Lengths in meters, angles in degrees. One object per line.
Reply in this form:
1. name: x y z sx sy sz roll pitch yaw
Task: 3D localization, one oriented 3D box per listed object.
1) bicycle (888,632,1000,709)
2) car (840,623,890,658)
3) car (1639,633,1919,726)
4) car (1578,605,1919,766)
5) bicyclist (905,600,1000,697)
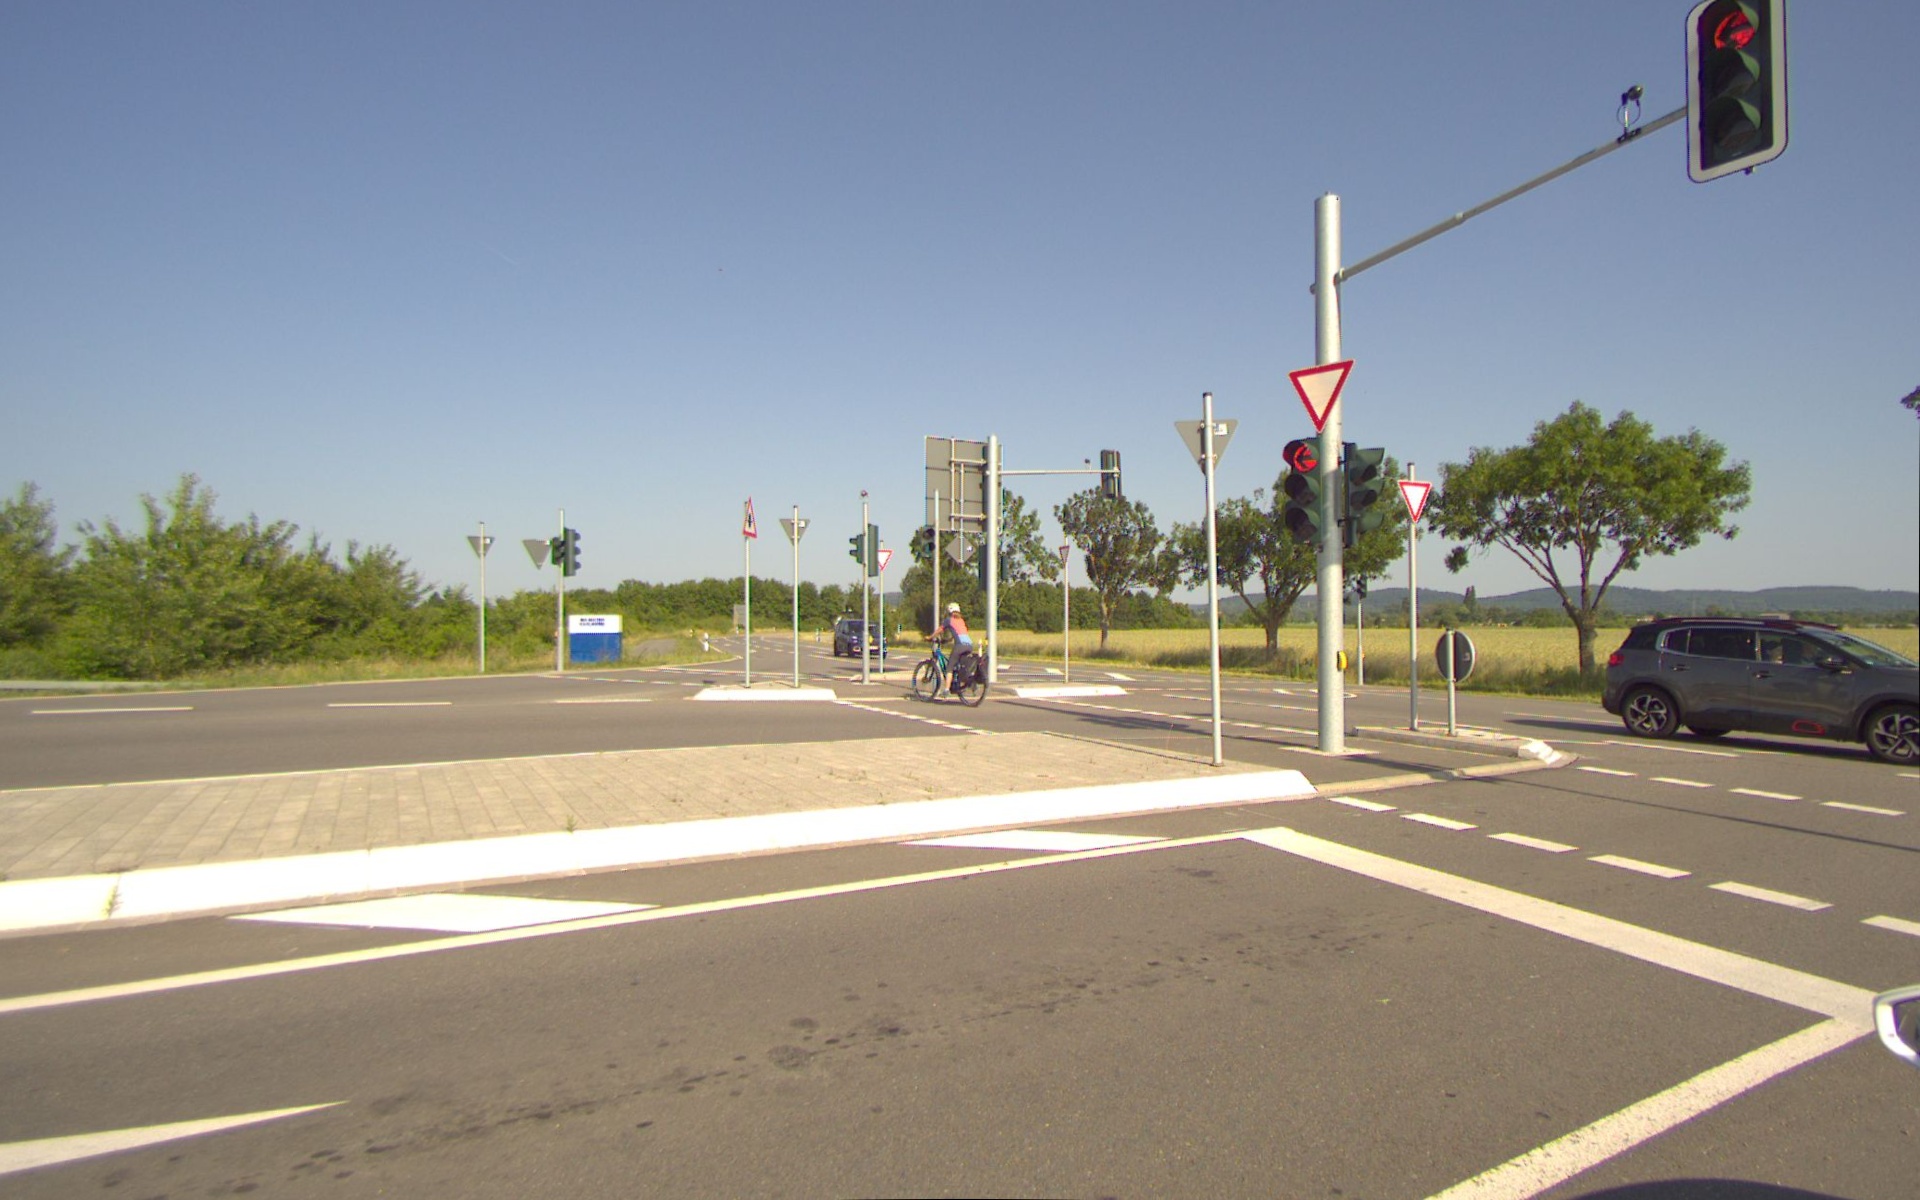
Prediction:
1. bicycle: -0.312 1.204 17.589 0.881 1.202 2.141 2 -1 -35
2. car: -4.575 1.964 47.946 1.740 1.578 3.843 2 -3 -15
3. car: 16.195 1.492 20.029 1.976 1.521 3.969 0 0 -30
4. car: 11.002 1.016 13.133 1.976 1.746 4.582 2 0 -29
5. bicyclist: -0.138 0.808 17.576 1.153 1.623 1.271 0 0 -34
